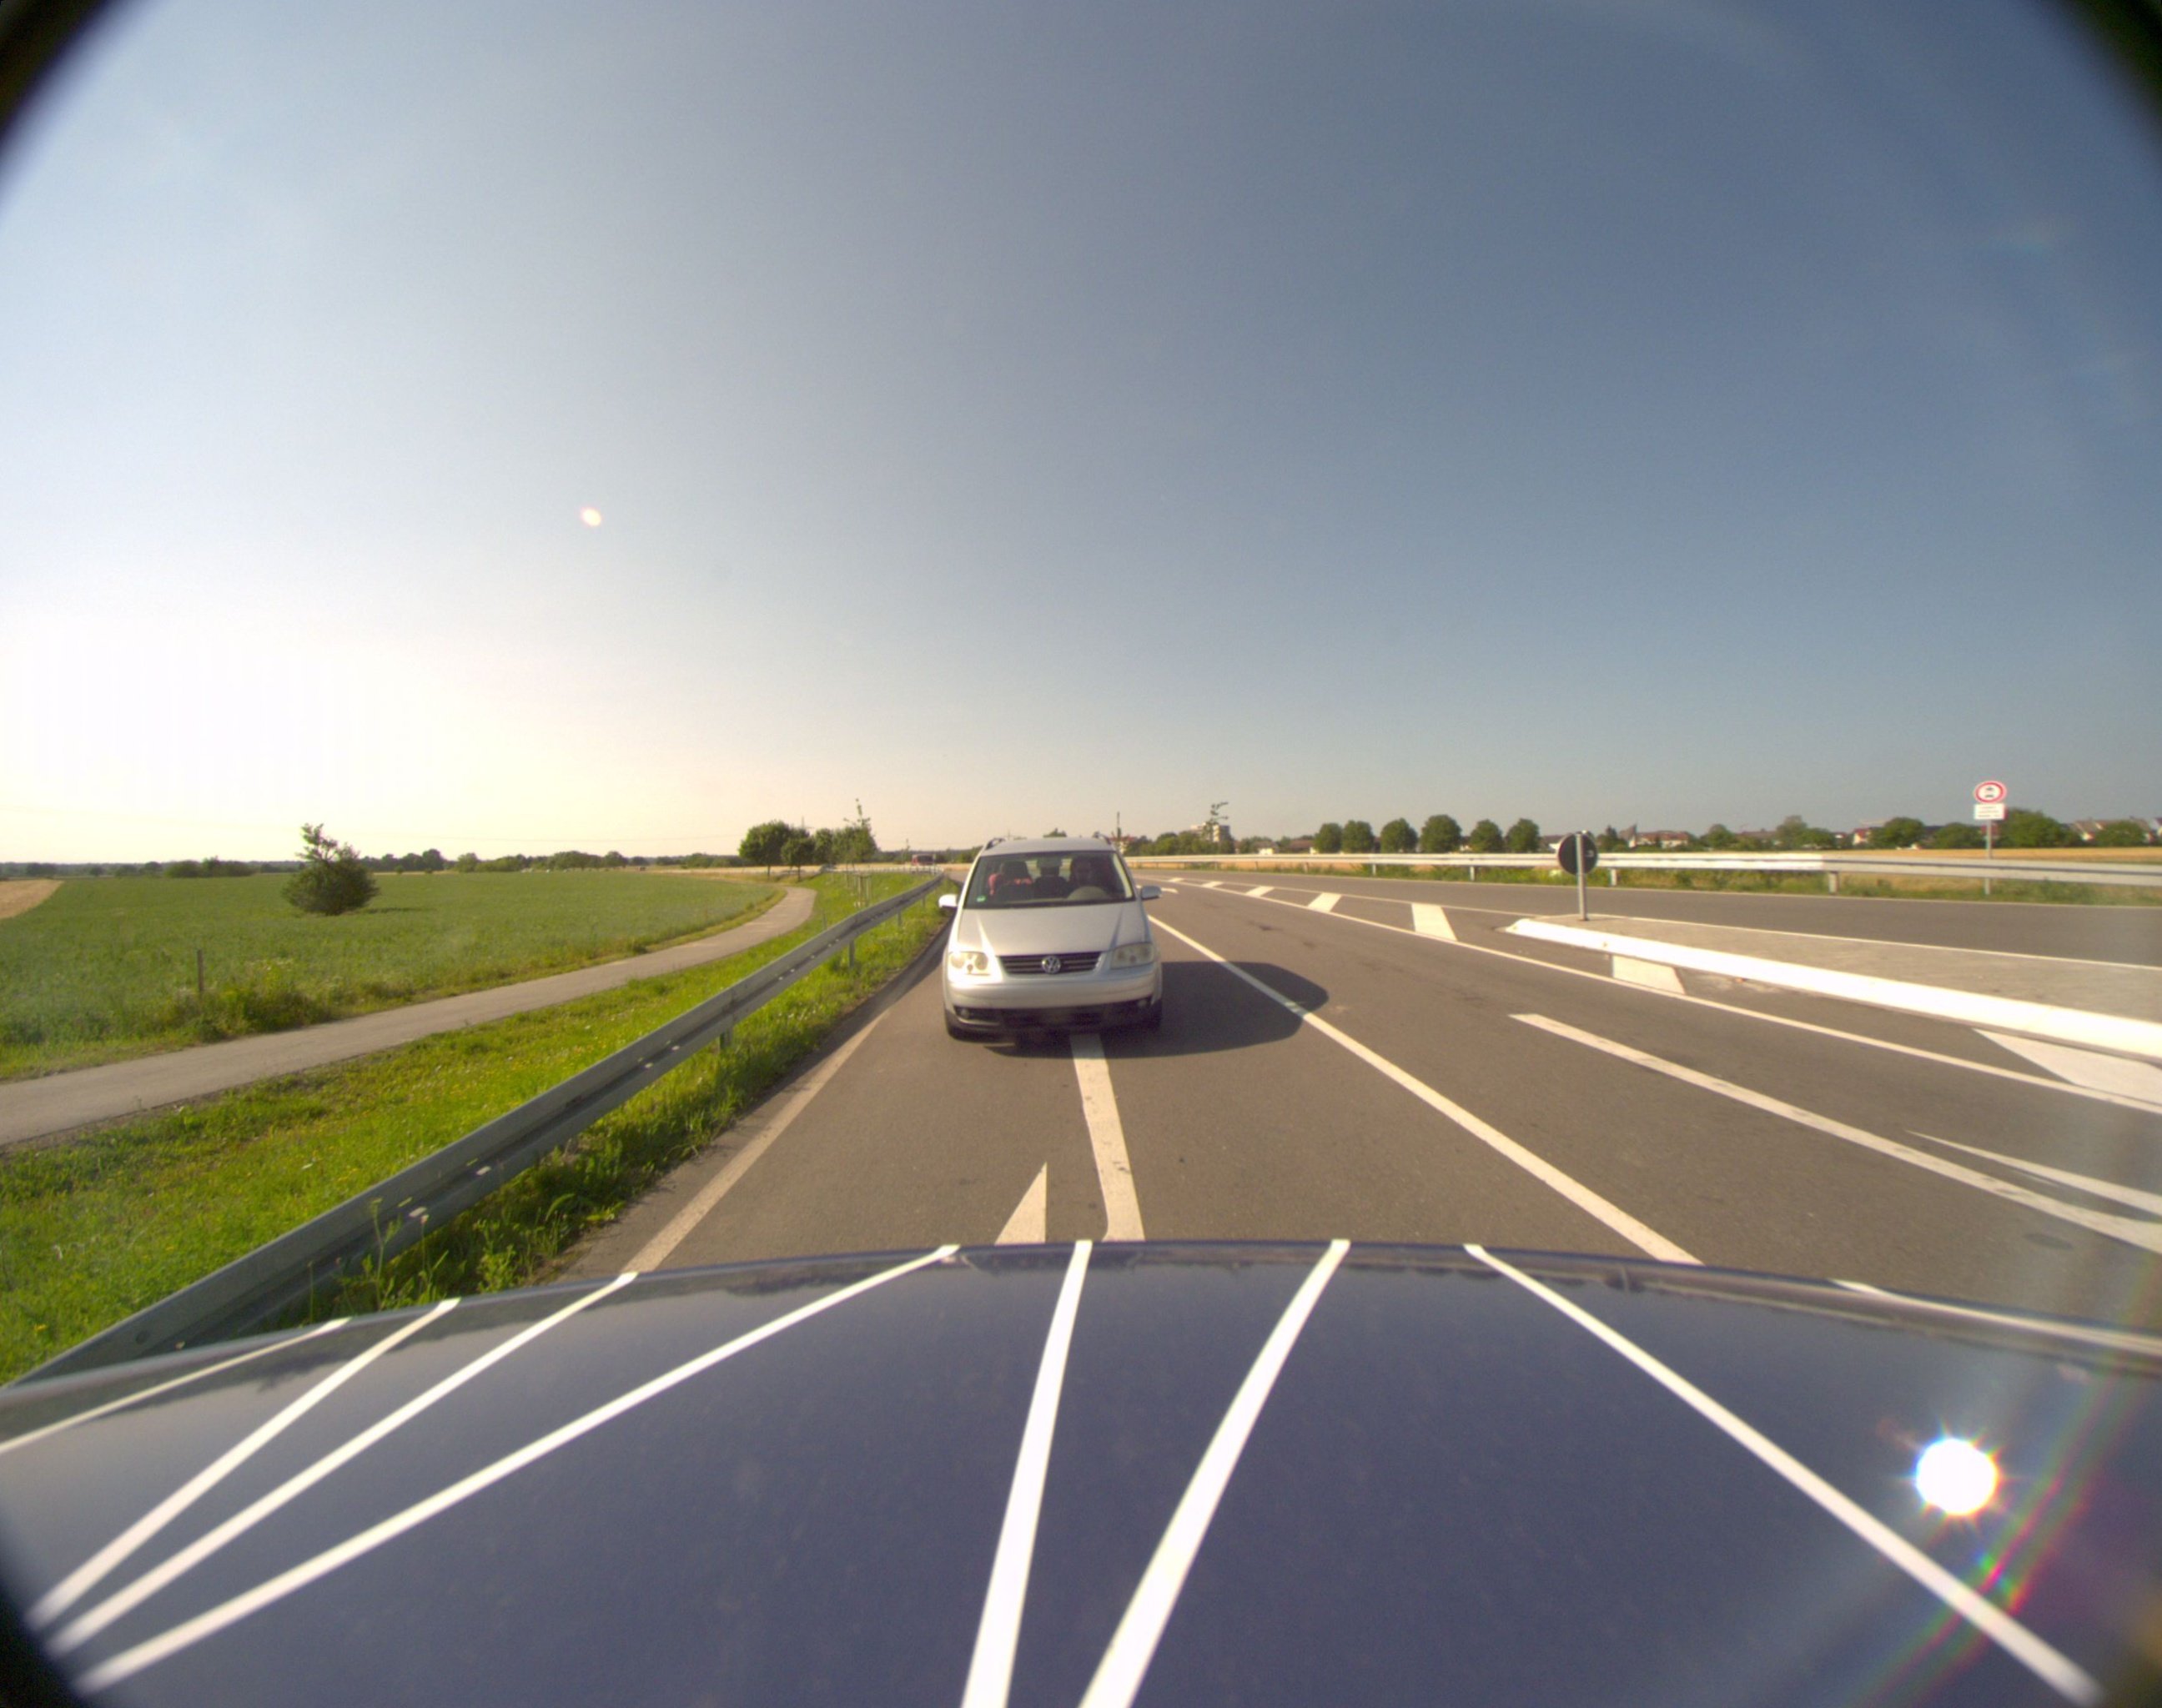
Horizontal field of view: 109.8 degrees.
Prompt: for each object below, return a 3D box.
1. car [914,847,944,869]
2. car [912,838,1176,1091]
[{"bbox_3d":[-13.655,0.370,68.124,1.695,1.826,4.690,-2,0,-22],"label":"car"},{"bbox_3d":[-0.261,0.733,7.396,1.755,1.685,4.214,-3,1,0],"label":"car"}]
